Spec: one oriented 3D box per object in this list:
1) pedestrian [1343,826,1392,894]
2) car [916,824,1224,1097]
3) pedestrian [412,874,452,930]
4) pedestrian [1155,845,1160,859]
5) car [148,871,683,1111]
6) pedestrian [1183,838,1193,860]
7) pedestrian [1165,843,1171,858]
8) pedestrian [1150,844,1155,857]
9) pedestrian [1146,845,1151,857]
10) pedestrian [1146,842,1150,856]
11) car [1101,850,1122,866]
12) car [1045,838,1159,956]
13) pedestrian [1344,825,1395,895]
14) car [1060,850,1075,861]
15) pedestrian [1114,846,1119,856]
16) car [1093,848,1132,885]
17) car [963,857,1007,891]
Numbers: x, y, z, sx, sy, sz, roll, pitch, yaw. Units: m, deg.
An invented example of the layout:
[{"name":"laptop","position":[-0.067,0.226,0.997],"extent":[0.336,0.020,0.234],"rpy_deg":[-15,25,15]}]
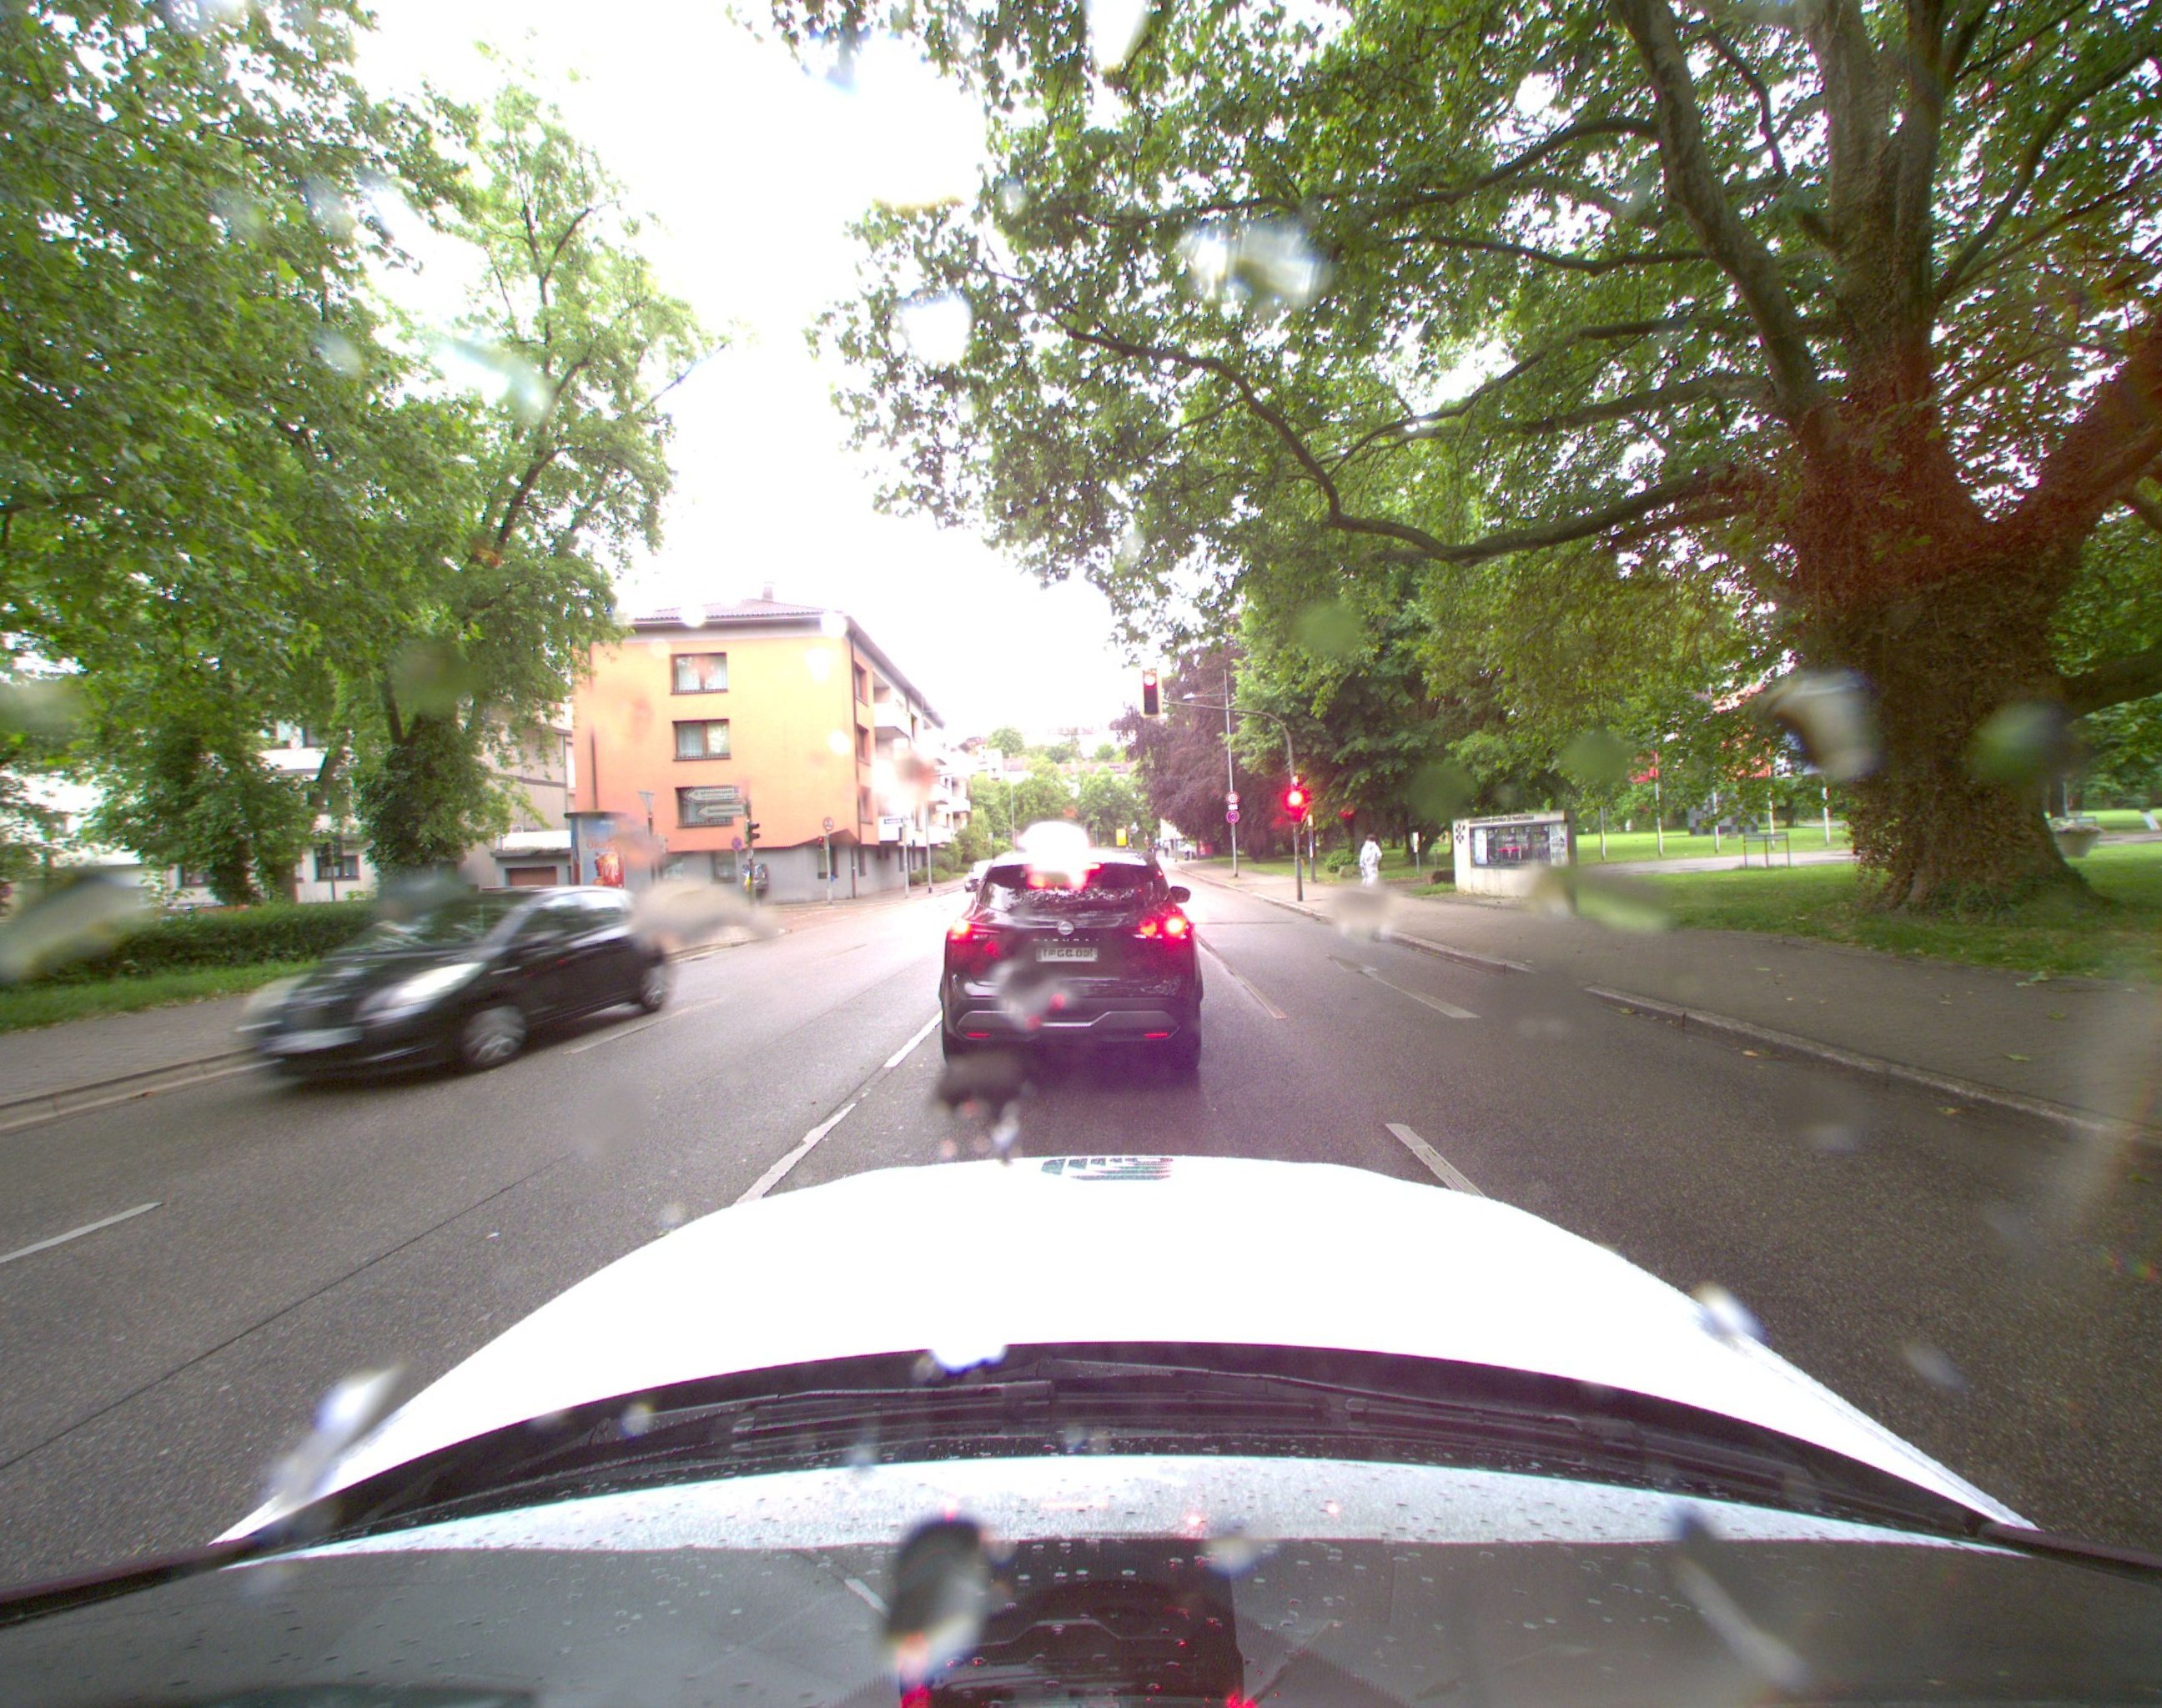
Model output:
[{"name":"pedestrian","position":[8.388,0.182,23.859],"extent":[1.035,1.876,0.656],"rpy_deg":[-5,0,-9]},{"name":"car","position":[-0.001,0.665,7.113],"extent":[1.906,1.680,4.002],"rpy_deg":[-1,0,2]},{"name":"pedestrian","position":[-18.317,1.327,22.982],"extent":[0.823,1.513,0.770],"rpy_deg":[-1,-1,44]},{"name":"pedestrian","position":[10.662,-0.273,113.416],"extent":[0.507,1.802,0.619],"rpy_deg":[-3,0,0]},{"name":"car","position":[-5.731,1.026,7.789],"extent":[1.789,1.533,3.868],"rpy_deg":[-3,0,1]},{"name":"pedestrian","position":[9.997,-0.471,76.209],"extent":[0.722,2.013,0.852],"rpy_deg":[-3,0,2]},{"name":"pedestrian","position":[10.393,-0.436,97.257],"extent":[0.507,1.802,0.619],"rpy_deg":[-3,0,-4]},{"name":"pedestrian","position":[9.981,-0.521,114.093],"extent":[0.506,1.802,0.659],"rpy_deg":[-3,0,2]},{"name":"pedestrian","position":[10.402,-0.472,125.427],"extent":[0.503,1.673,0.663],"rpy_deg":[-3,0,29]},{"name":"pedestrian","position":[9.397,-0.699,114.174],"extent":[0.506,1.802,0.620],"rpy_deg":[-3,0,1]},{"name":"car","position":[2.863,0.385,77.417],"extent":[1.819,1.403,4.652],"rpy_deg":[-4,0,1]},{"name":"car","position":[0.384,0.672,14.511],"extent":[1.692,1.745,3.642],"rpy_deg":[-3,0,2]},{"name":"pedestrian","position":[8.184,0.178,23.112],"extent":[1.035,1.876,0.656],"rpy_deg":[-5,0,-9]},{"name":"car","position":[-2.036,0.192,124.209],"extent":[1.963,1.532,3.969],"rpy_deg":[-3,0,2]},{"name":"pedestrian","position":[5.963,-0.463,135.192],"extent":[0.503,1.673,0.663],"rpy_deg":[-3,0,29]},{"name":"car","position":[1.647,0.584,41.451],"extent":[1.714,1.678,4.318],"rpy_deg":[-3,0,4]},{"name":"car","position":[-4.806,0.974,41.170],"extent":[1.791,1.533,3.865],"rpy_deg":[-3,0,-2]}]
